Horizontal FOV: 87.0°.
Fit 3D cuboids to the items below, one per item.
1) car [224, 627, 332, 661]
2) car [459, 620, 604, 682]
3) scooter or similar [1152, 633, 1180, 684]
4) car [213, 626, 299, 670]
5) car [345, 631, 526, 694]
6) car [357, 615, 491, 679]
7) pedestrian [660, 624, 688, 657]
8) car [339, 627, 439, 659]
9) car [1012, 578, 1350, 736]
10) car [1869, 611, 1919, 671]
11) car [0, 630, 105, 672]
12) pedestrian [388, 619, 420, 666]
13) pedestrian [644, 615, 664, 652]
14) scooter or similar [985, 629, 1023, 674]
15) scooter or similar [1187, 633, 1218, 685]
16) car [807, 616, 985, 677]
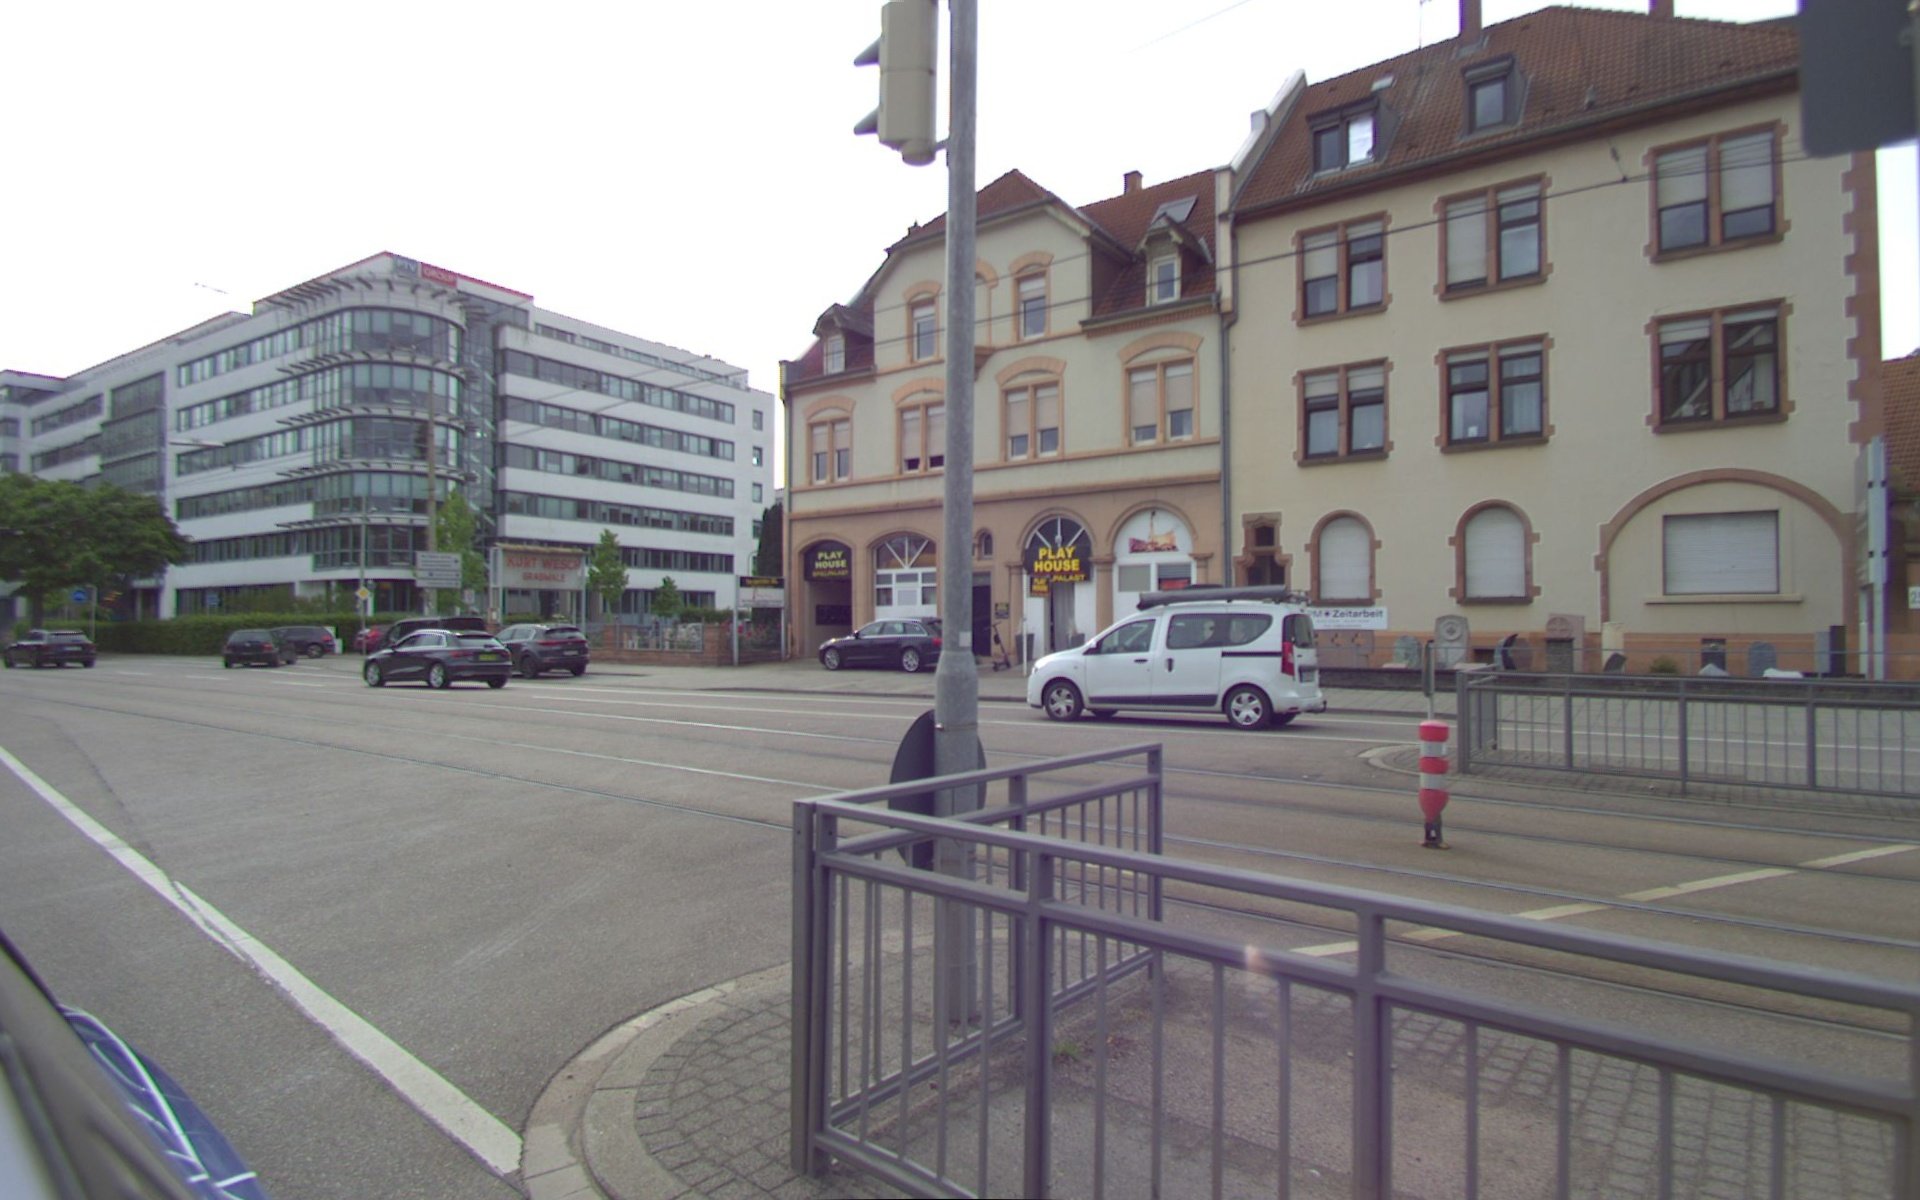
[{"bbox_3d":[-30.332,1.939,45.153,3.919,1.462,1.821,1,-2,-33],"label":"car"},{"bbox_3d":[-13.429,1.565,31.666,4.522,1.762,2.020,-2,0,34],"label":"car"},{"bbox_3d":[4.662,1.310,22.933,0.521,1.110,1.175,-1,-1,7],"label":"scooter or similar"},{"bbox_3d":[-26.616,1.830,38.407,1.765,1.542,4.154,2,-3,-23],"label":"car"},{"bbox_3d":[-13.130,1.508,25.302,4.404,1.439,1.869,-1,-3,28],"label":"car"},{"bbox_3d":[-18.537,1.565,34.900,5.173,2.029,1.969,-1,0,35],"label":"car"},{"bbox_3d":[-17.835,2.513,63.108,1.180,2.029,1.207,-1,-2,21],"label":"pedestrian"},{"bbox_3d":[-28.256,2.119,50.204,1.721,1.433,3.973,-4,-3,34],"label":"car"},{"bbox_3d":[3.165,0.776,14.877,4.512,2.004,1.869,-1,-2,34],"label":"car"},{"bbox_3d":[24.503,0.995,25.856,1.694,1.424,3.820,-1,-1,45],"label":"car"},{"bbox_3d":[-34.142,1.871,37.750,4.801,1.484,1.891,-1,-3,30],"label":"car"},{"bbox_3d":[-22.273,1.678,40.540,1.058,1.839,0.796,-1,-1,38],"label":"pedestrian"},{"bbox_3d":[-15.159,1.656,50.103,0.761,1.787,0.628,-1,-1,40],"label":"pedestrian"},{"bbox_3d":[1.203,1.386,27.460,0.526,1.110,1.165,-1,1,32],"label":"scooter or similar"},{"bbox_3d":[5.439,1.300,22.720,0.521,1.110,1.175,-1,-1,7],"label":"scooter or similar"},{"bbox_3d":[-1.874,1.259,28.764,4.893,1.504,1.976,-1,2,36],"label":"car"}]
